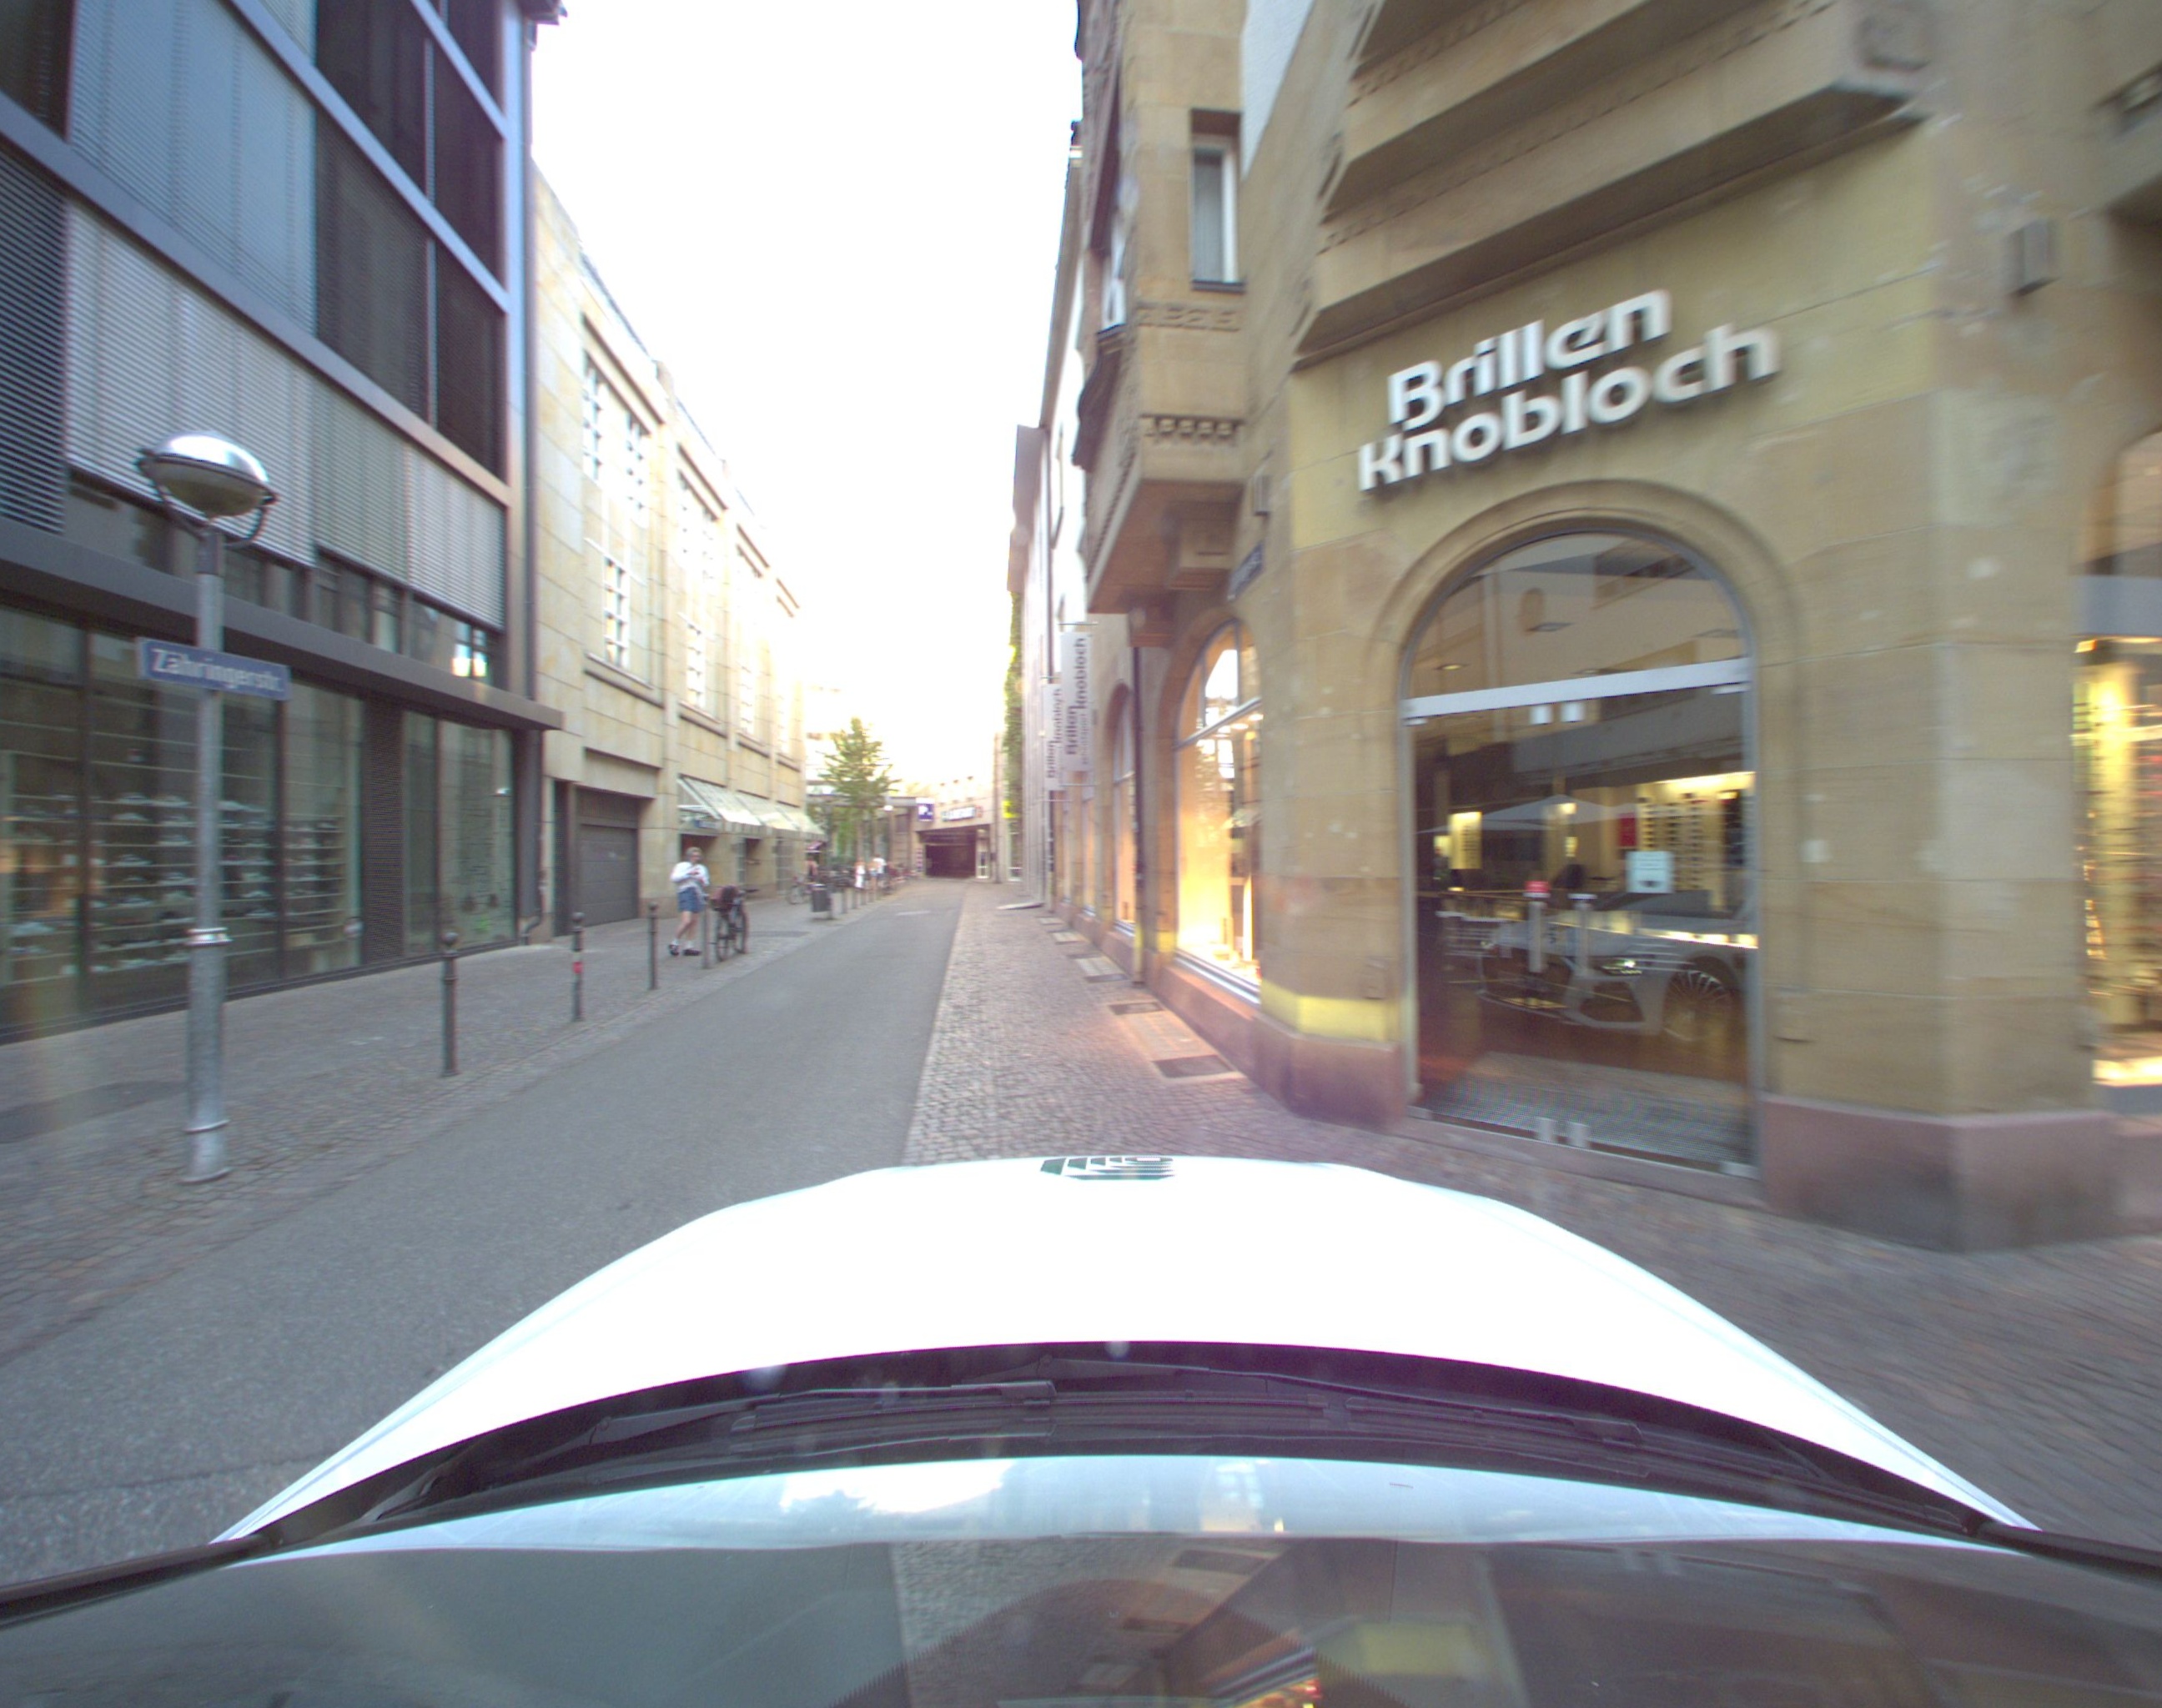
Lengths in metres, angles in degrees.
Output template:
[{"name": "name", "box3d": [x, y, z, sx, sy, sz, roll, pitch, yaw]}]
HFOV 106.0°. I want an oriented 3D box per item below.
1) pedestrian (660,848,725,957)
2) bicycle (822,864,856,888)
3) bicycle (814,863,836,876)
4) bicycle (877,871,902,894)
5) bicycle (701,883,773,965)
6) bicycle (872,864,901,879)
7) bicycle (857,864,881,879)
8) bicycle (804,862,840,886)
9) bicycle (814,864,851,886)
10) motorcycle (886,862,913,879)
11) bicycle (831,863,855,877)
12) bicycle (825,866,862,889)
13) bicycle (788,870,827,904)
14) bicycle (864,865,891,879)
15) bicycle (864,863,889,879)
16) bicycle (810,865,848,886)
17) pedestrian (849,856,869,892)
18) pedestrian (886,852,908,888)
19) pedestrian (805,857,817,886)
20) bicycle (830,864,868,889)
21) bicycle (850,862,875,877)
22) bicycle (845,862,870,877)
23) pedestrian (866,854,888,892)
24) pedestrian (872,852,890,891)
[{"name": "pedestrian", "box3d": [-6.261, 0.766, 13.159, 0.767, 1.718, 0.590, 1, 0, -9]}, {"name": "bicycle", "box3d": [-12.827, 1.157, 43.171, 1.664, 1.230, 0.529, -2, 0, -31]}, {"name": "bicycle", "box3d": [-22.352, 1.330, 71.168, 1.782, 1.114, 0.538, -1, 0, -26]}, {"name": "bicycle", "box3d": [-8.456, 1.258, 36.040, 0.490, 0.939, 1.662, 0, 0, 7]}, {"name": "bicycle", "box3d": [-5.497, 1.076, 13.122, 0.532, 1.154, 1.910, 1, 0, -6]}, {"name": "bicycle", "box3d": [-13.355, 1.196, 56.036, 1.859, 0.982, 0.459, -1, 0, -29]}, {"name": "bicycle", "box3d": [-15.128, 1.245, 58.237, 1.548, 1.049, 0.570, -1, 0, -29]}, {"name": "bicycle", "box3d": [-14.641, 1.123, 45.972, 1.845, 1.225, 0.529, -2, 0, -31]}, {"name": "bicycle", "box3d": [-13.687, 1.151, 44.902, 1.884, 1.177, 0.529, -2, 0, -31]}, {"name": "motorcycle", "box3d": [-12.112, 1.106, 54.254, 1.673, 1.050, 0.459, -1, 0, -29]}, {"name": "bicycle", "box3d": [-19.225, 1.294, 65.818, 1.784, 1.114, 0.538, -1, 0, -29]}, {"name": "bicycle", "box3d": [-12.832, 1.257, 44.069, 1.848, 1.122, 0.529, -2, 0, -31]}, {"name": "bicycle", "box3d": [-9.720, 1.155, 28.980, 0.518, 1.138, 1.769, -1, 0, 8]}, {"name": "bicycle", "box3d": [-14.097, 1.224, 56.450, 1.784, 0.904, 0.459, -1, 0, -29]}, {"name": "bicycle", "box3d": [-14.385, 1.204, 57.256, 1.548, 1.049, 0.570, -1, 0, -29]}, {"name": "bicycle", "box3d": [-14.034, 1.192, 45.383, 1.906, 1.052, 0.529, -2, 0, -31]}, {"name": "pedestrian", "box3d": [-10.360, 0.930, 38.066, 0.673, 1.664, 0.860, -1, 0, -2]}, {"name": "pedestrian", "box3d": [-9.377, 0.806, 41.551, 0.781, 1.795, 0.973, -1, 1, 4]}, {"name": "pedestrian", "box3d": [-13.494, 0.870, 40.755, 0.478, 1.471, 0.410, -1, 0, -30]}, {"name": "bicycle", "box3d": [-11.945, 1.150, 42.015, 1.778, 1.230, 0.529, -2, 0, -31]}, {"name": "bicycle", "box3d": [-16.883, 1.180, 62.831, 1.784, 1.114, 0.538, -1, 0, -29]}, {"name": "bicycle", "box3d": [-17.491, 1.180, 63.807, 1.784, 1.114, 0.538, -1, 0, -29]}, {"name": "pedestrian", "box3d": [-9.579, 0.868, 38.200, 0.804, 1.729, 0.948, -1, 0, -3]}, {"name": "pedestrian", "box3d": [-9.680, 0.836, 39.362, 0.742, 1.822, 0.875, -1, 0, -9]}]
